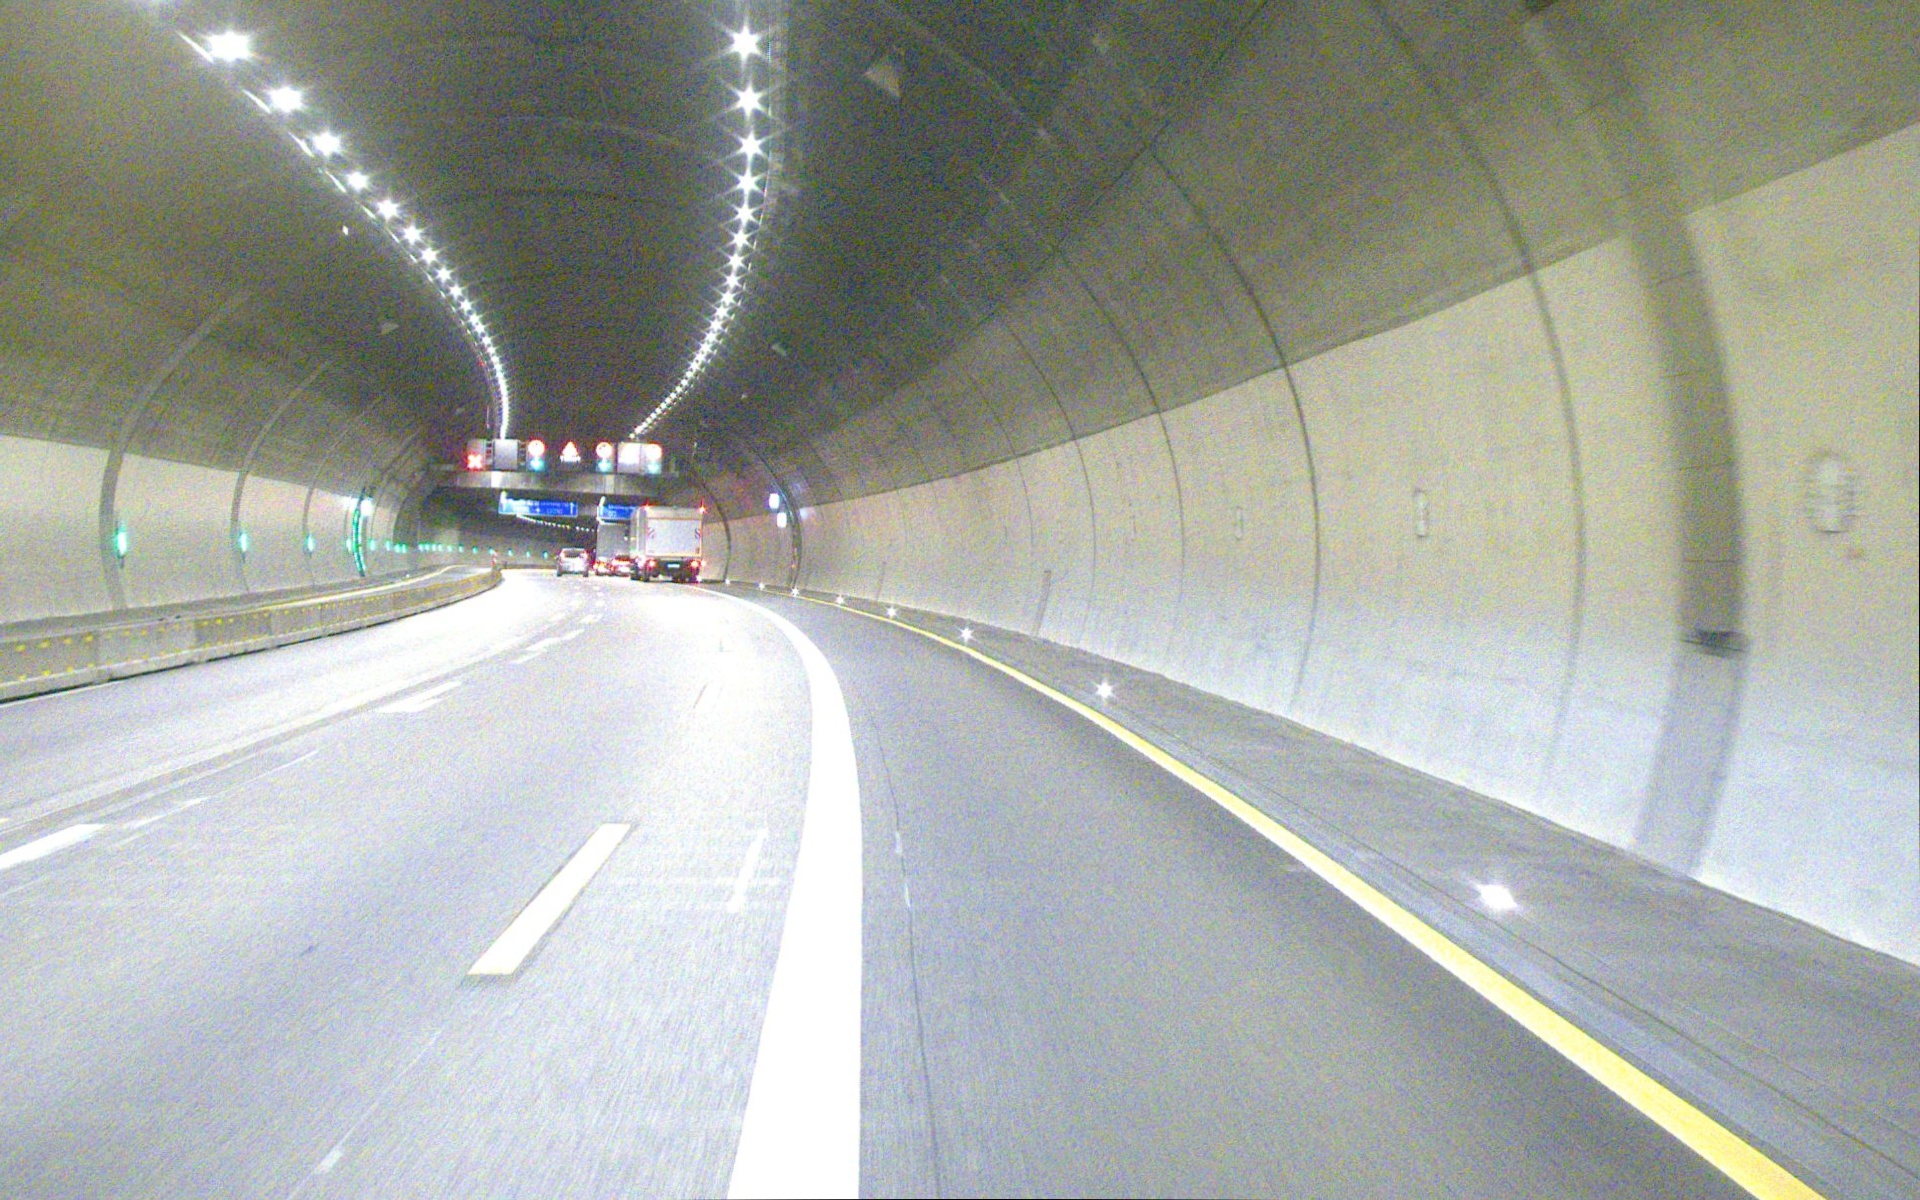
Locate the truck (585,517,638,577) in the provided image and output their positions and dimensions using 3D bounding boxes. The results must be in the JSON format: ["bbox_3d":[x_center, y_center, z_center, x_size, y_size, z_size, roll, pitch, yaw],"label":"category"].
[{"bbox_3d":[-26.150,-3.985,257.546,3.473,4.301,10.954,1,1,-8],"label":"truck"}]

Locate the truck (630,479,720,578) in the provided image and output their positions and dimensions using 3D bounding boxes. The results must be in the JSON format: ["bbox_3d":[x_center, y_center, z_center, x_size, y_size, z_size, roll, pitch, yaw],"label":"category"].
[{"bbox_3d":[-13.326,-3.341,159.820,3.473,4.301,10.955,2,1,-8],"label":"truck"}]

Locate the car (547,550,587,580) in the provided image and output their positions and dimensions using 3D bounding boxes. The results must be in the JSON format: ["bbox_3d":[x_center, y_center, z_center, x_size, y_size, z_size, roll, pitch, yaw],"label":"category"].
[{"bbox_3d":[-21.925,-1.946,191.718,1.993,1.576,4.001,2,1,-8],"label":"car"}]

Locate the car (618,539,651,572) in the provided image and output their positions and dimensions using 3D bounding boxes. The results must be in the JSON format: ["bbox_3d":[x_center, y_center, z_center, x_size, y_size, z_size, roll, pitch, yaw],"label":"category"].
[{"bbox_3d":[-20.725,-2.839,218.562,1.993,2.007,4.001,2,1,-6],"label":"car"}]
